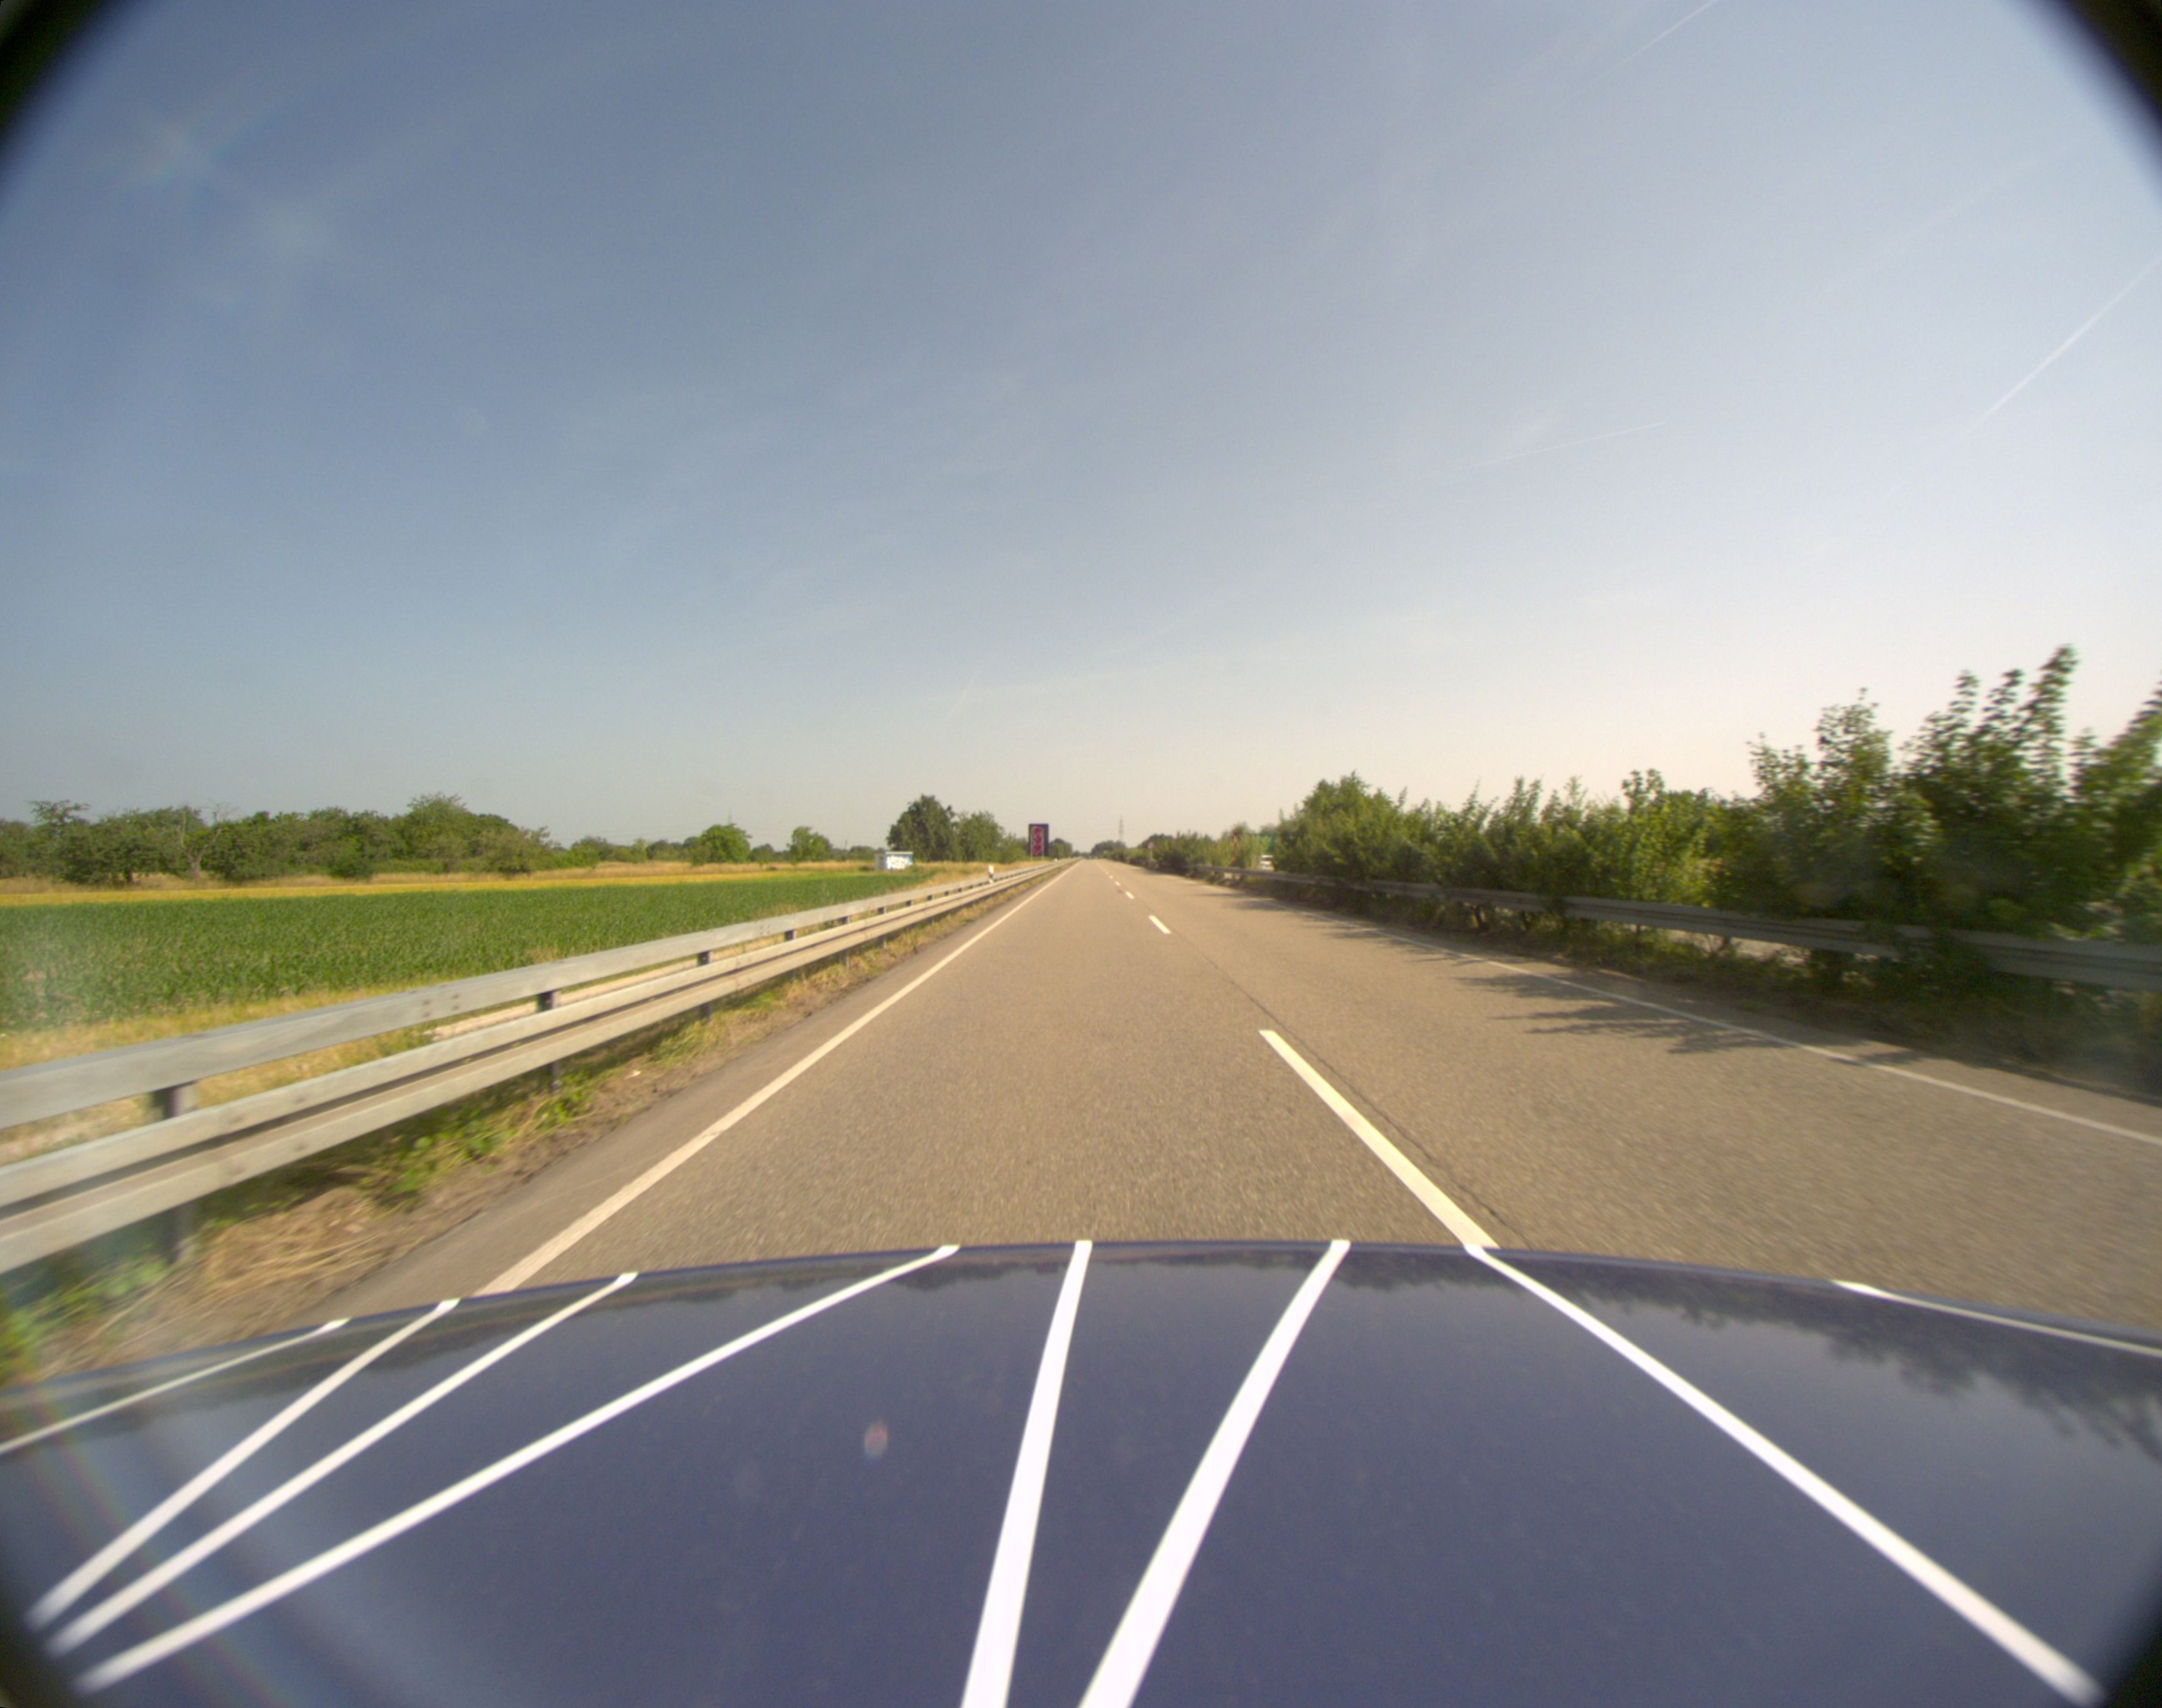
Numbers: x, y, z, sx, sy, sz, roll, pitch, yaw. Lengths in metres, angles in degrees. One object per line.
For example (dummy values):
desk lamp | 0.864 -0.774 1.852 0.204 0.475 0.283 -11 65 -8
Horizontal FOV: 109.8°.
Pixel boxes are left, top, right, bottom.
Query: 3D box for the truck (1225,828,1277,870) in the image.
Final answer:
truck | 15.612 -0.461 70.578 2.609 3.568 10.385 -1 0 1
